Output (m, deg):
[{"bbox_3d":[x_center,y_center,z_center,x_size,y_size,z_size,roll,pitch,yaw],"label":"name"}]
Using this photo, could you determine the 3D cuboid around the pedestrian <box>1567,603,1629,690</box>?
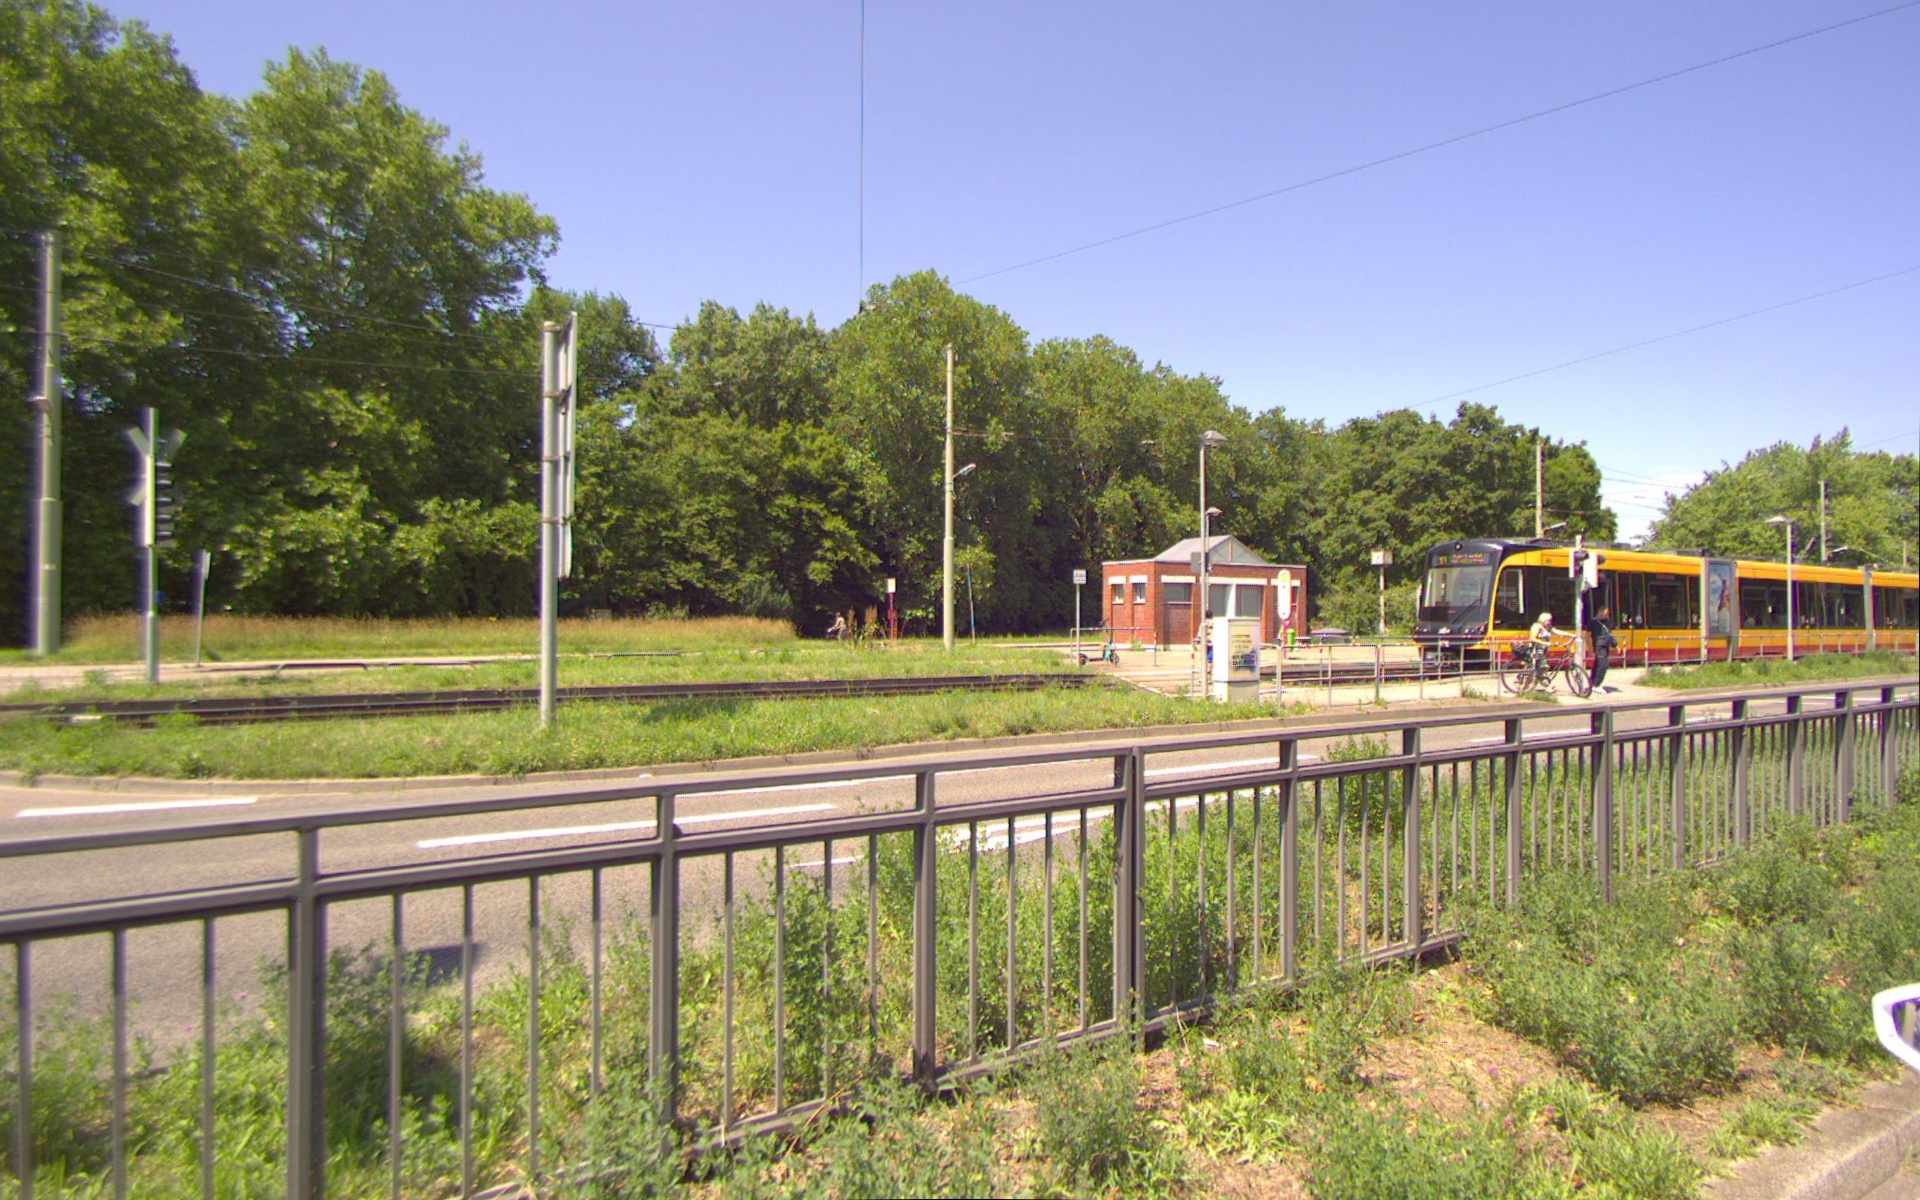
[{"bbox_3d":[13.705,0.980,21.600,0.691,1.820,0.961,1,0,-2],"label":"pedestrian"}]

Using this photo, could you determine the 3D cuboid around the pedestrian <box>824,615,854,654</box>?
[{"bbox_3d":[-5.540,1.574,45.861,1.245,1.724,0.517,0,0,14],"label":"pedestrian"}]

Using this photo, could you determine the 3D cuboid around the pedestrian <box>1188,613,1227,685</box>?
[{"bbox_3d":[5.471,1.065,22.230,0.528,1.561,0.867,0,-1,-11],"label":"pedestrian"}]

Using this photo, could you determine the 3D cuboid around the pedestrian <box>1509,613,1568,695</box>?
[{"bbox_3d":[12.063,1.104,20.943,0.696,1.650,0.816,1,0,-25],"label":"pedestrian"}]

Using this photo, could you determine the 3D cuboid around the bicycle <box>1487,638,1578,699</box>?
[{"bbox_3d":[11.962,1.405,21.066,0.239,1.172,1.857,1,-1,-25],"label":"bicycle"}]

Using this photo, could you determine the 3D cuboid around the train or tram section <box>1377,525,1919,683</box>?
[{"bbox_3d":[27.341,0.366,34.676,37.093,3.717,2.773,1,-1,-32],"label":"train or tram section"}]

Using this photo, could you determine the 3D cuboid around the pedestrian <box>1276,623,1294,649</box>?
[{"bbox_3d":[12.887,1.428,39.819,0.516,1.032,0.479,0,-1,-29],"label":"pedestrian"}]

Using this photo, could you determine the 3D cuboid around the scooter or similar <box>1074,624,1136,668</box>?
[{"bbox_3d":[4.001,1.260,27.711,1.639,1.142,0.613,0,0,13],"label":"scooter or similar"}]

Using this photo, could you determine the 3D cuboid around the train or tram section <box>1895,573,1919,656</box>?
[{"bbox_3d":[54.070,0.823,51.152,25.704,3.717,2.773,1,-1,-32],"label":"train or tram section"}]
